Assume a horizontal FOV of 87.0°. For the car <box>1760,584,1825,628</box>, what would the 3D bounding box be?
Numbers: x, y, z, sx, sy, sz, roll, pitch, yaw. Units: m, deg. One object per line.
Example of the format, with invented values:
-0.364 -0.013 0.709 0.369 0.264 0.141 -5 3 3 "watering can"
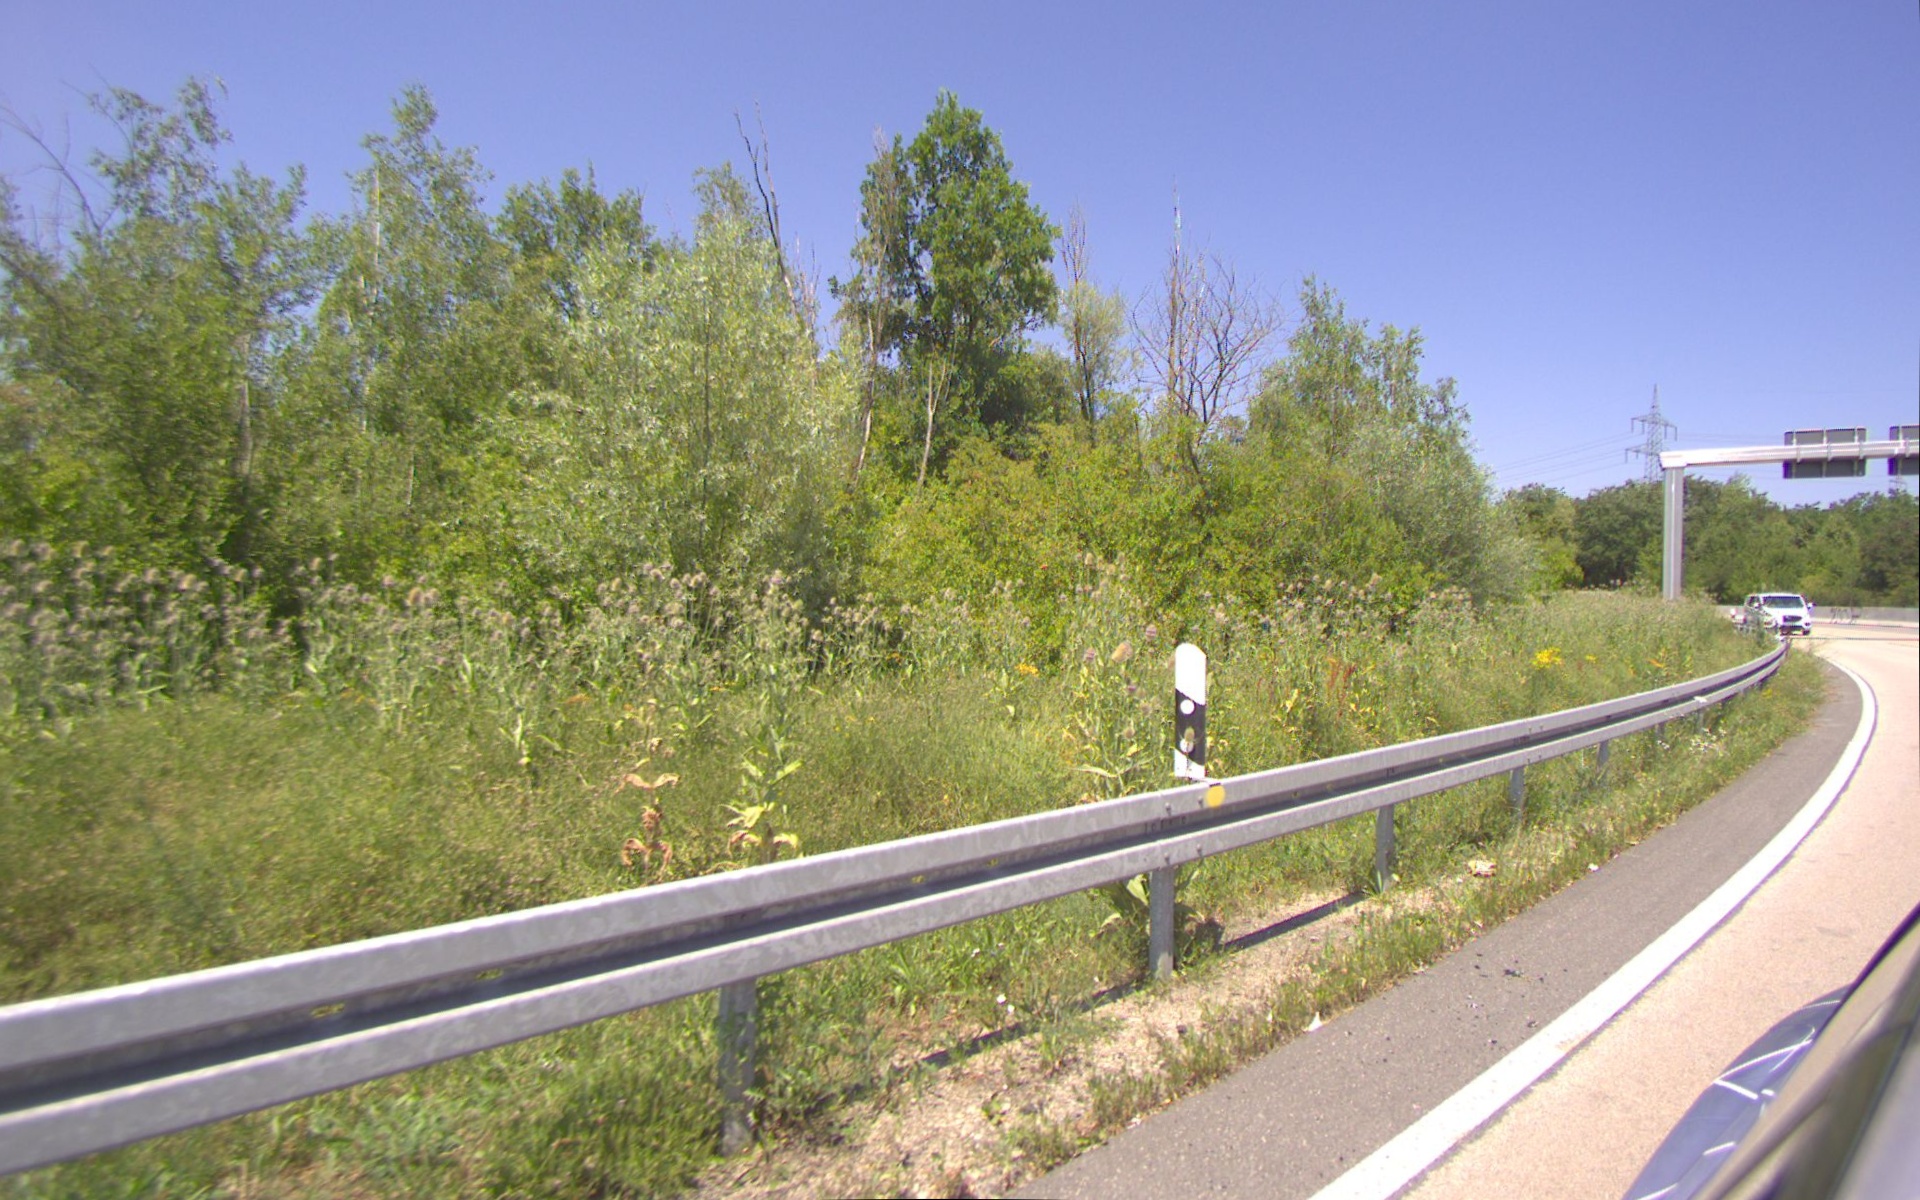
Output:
40.864 0.266 49.793 2.050 2.039 4.978 -1 0 35 "car"
